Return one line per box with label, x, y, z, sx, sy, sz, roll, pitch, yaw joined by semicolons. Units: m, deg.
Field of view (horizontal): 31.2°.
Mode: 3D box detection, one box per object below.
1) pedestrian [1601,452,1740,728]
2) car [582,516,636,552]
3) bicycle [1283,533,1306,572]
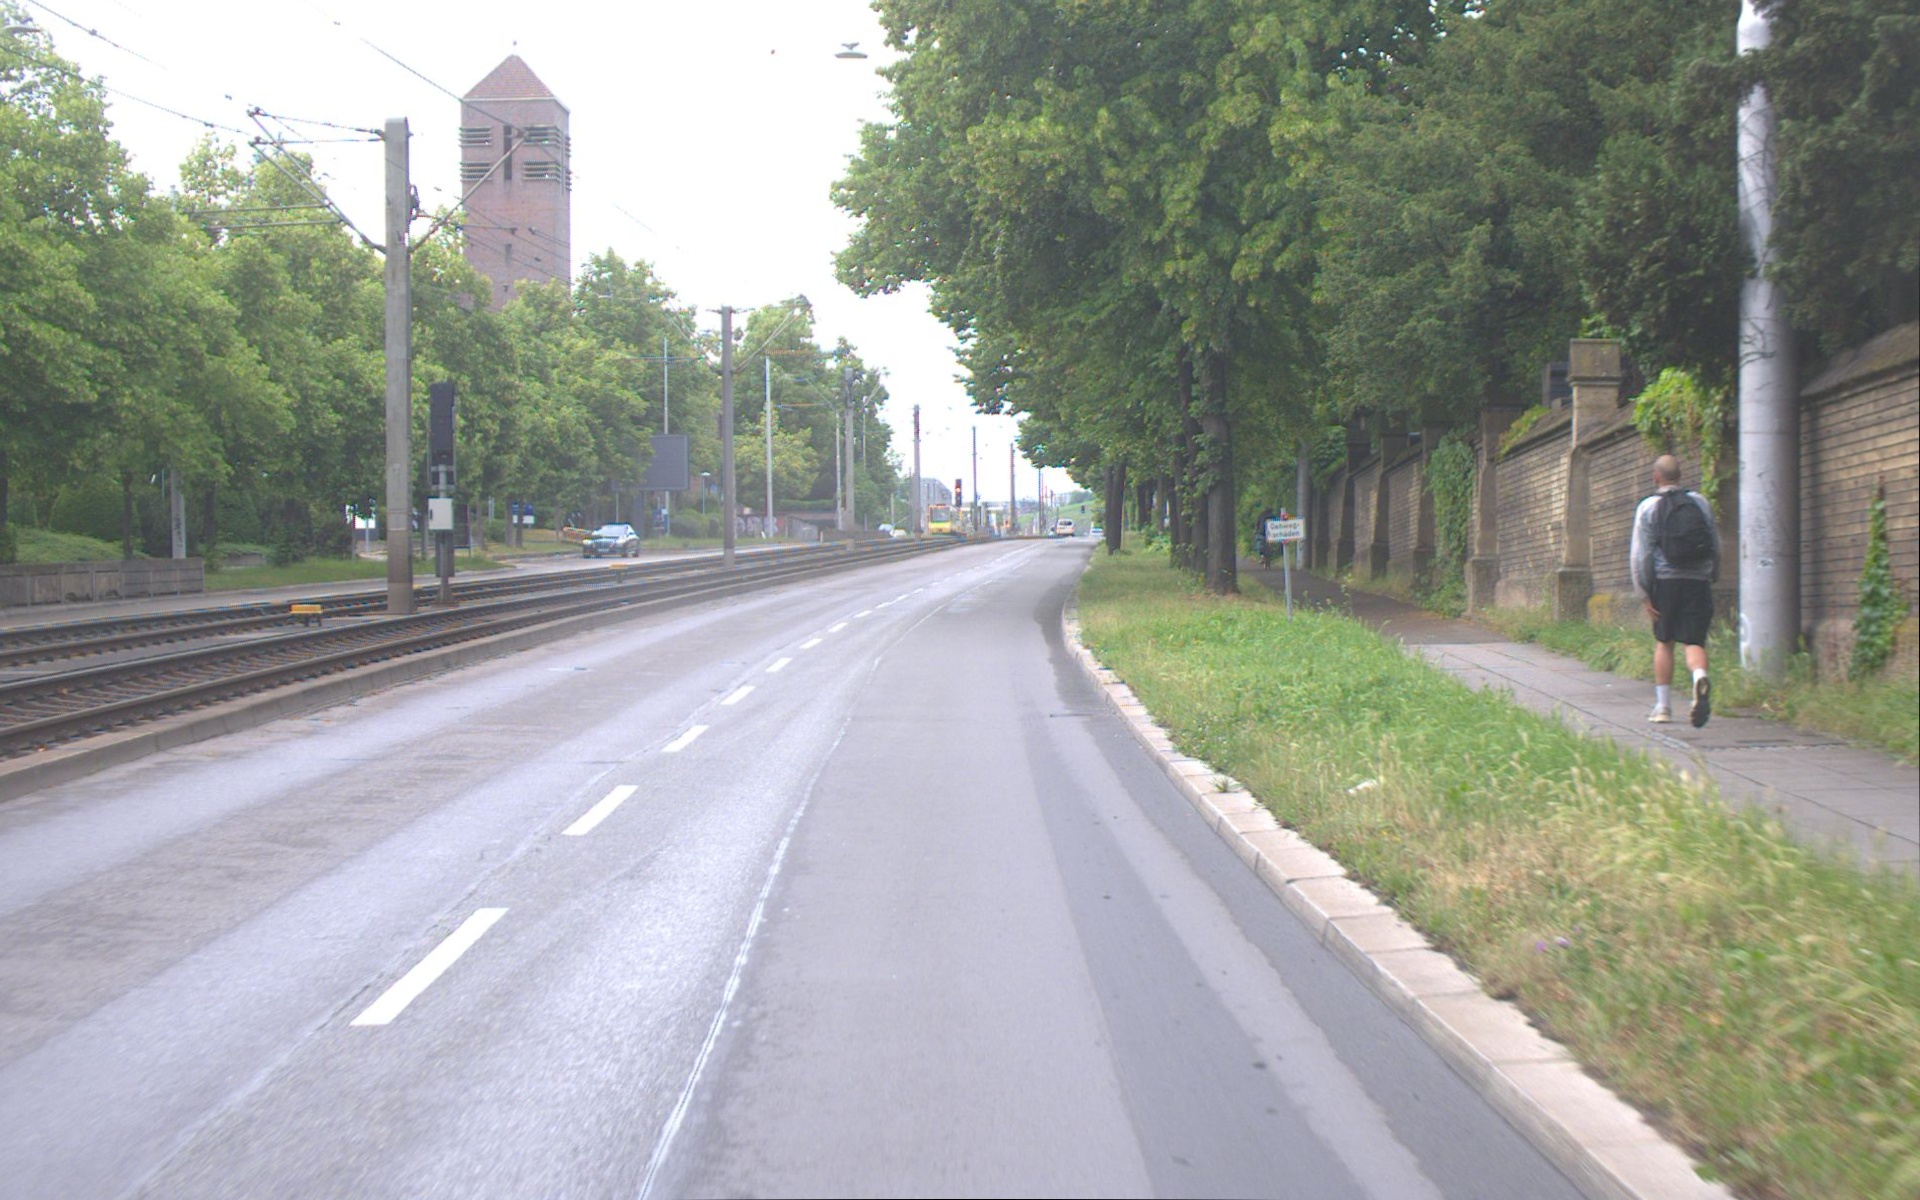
pedestrian;4.638;-0.075;22.483;0.708;1.773;0.901;0;1;0
car;-15.328;-2.882;150.329;1.794;1.525;4.622;-1;1;1
bicycle;8.460;-1.207;86.880;0.543;0.945;2.549;-1;1;6
